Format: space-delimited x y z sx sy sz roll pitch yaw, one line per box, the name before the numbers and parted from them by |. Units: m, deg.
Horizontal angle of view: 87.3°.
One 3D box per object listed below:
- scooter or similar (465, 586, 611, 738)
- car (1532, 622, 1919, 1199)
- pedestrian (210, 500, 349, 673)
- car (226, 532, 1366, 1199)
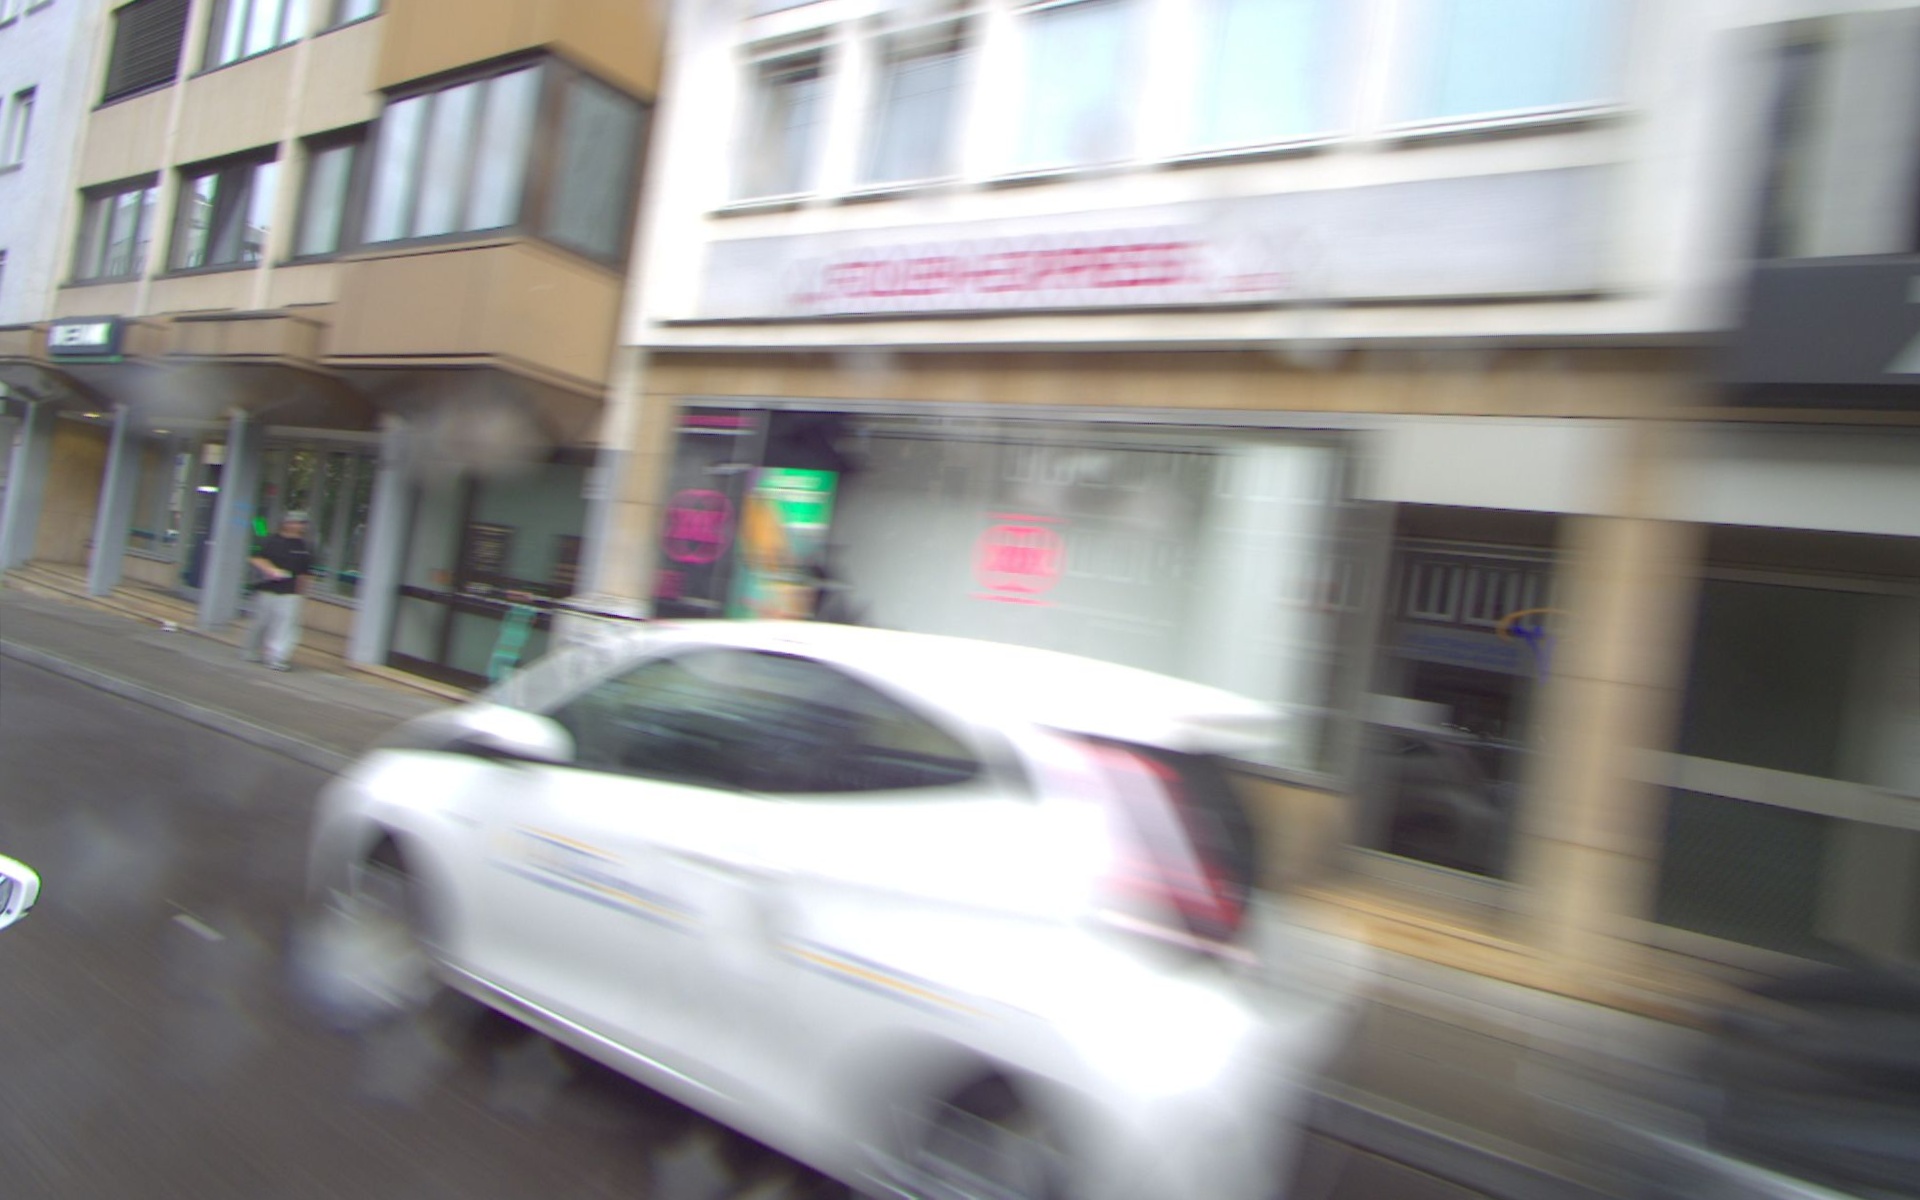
scooter or similar | -3.528 0.503 8.391 1.211 1.095 0.210 7 -1 23
car | 3.418 1.182 0.766 5.083 1.650 1.812 6 -2 31
pedestrian | -7.164 -0.135 10.597 0.949 1.671 0.697 7 -2 30
car | -0.694 0.739 3.406 3.506 1.493 1.560 6 -2 32
